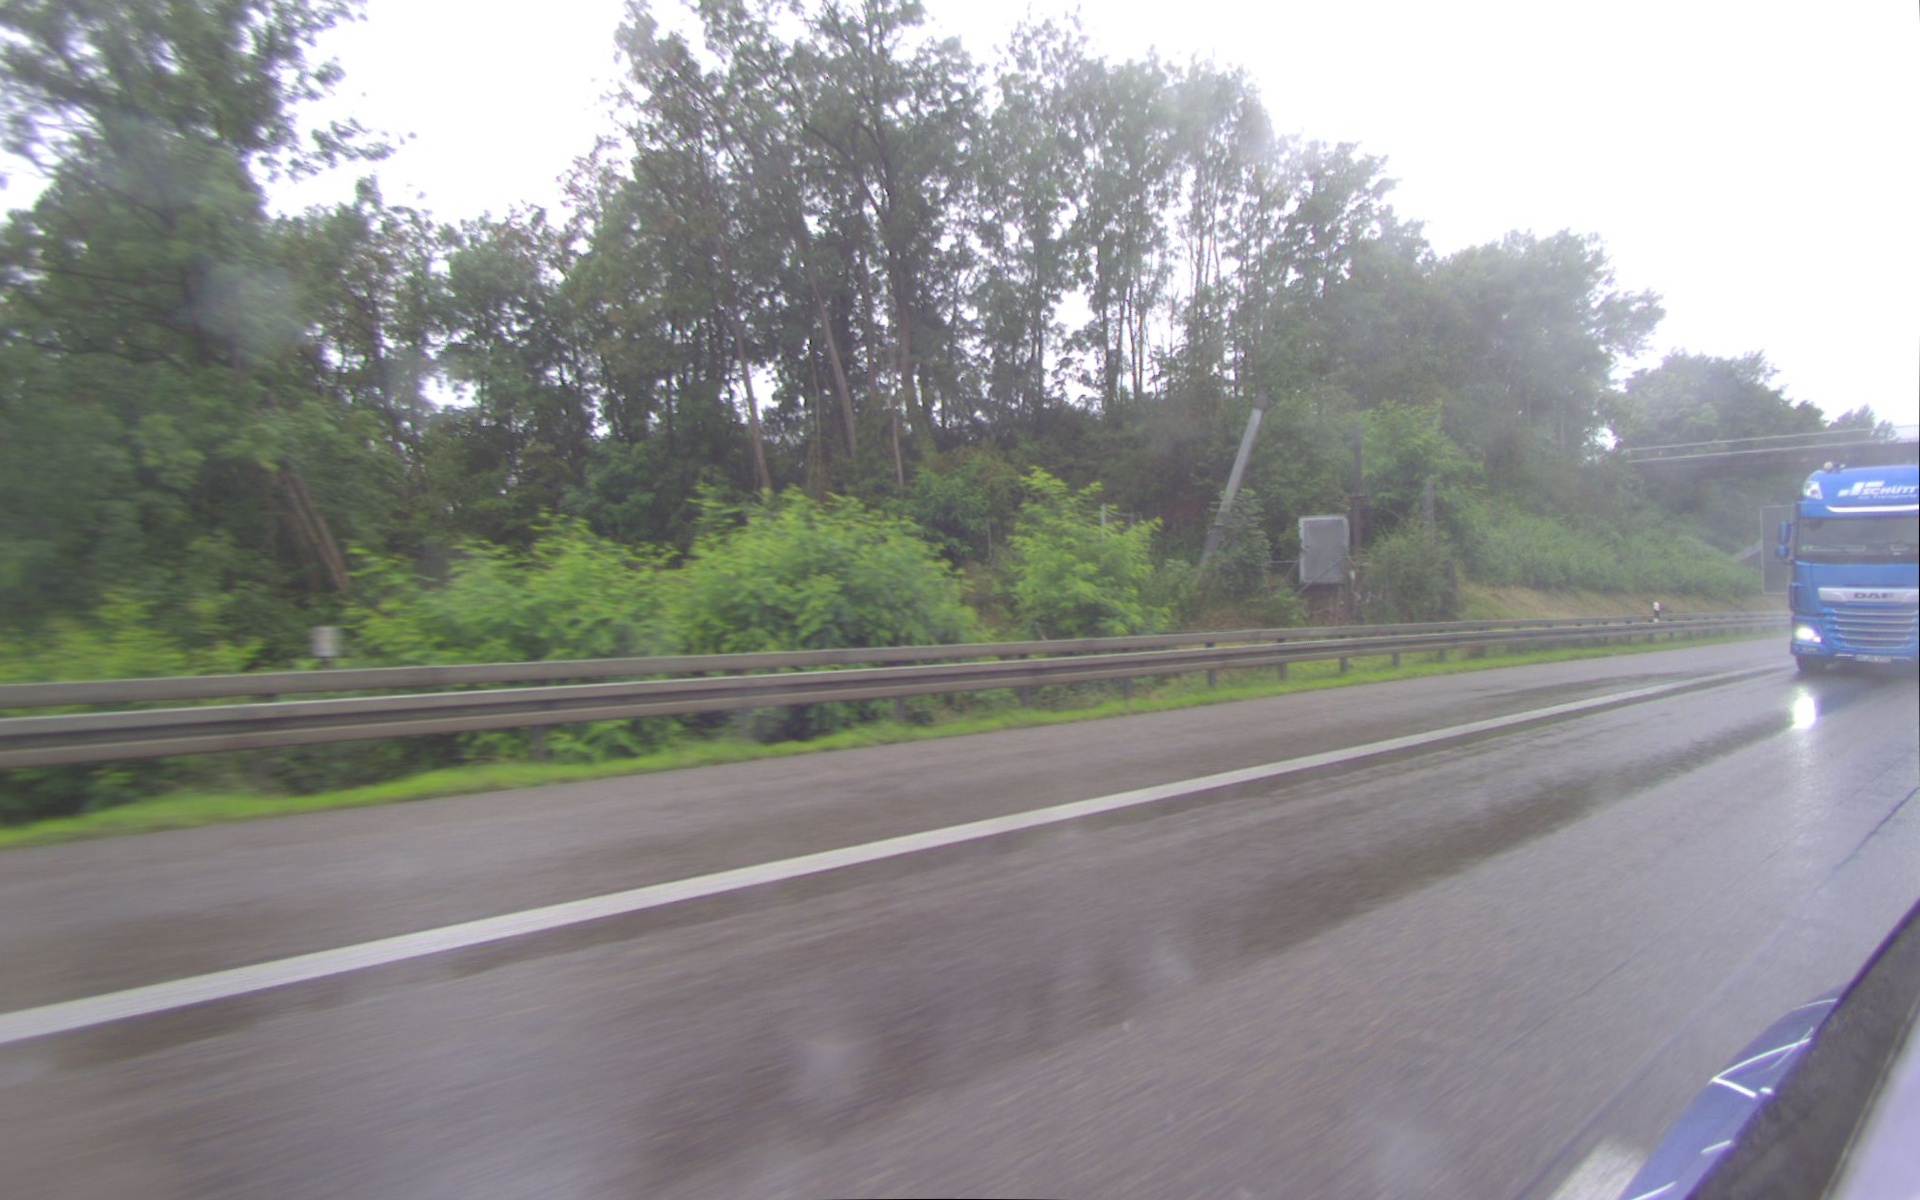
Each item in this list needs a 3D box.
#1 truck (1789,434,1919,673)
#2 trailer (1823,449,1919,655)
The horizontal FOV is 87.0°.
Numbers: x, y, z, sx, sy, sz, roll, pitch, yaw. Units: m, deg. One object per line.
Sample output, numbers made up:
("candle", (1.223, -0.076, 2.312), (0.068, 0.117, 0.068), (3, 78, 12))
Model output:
("truck", (18.757, -0.853, 19.839), (6.368, 4.129, 2.754), (-1, 1, -40))
("trailer", (23.987, -1.028, 24.247), (13.879, 4.014, 2.749), (-1, 0, -40))
